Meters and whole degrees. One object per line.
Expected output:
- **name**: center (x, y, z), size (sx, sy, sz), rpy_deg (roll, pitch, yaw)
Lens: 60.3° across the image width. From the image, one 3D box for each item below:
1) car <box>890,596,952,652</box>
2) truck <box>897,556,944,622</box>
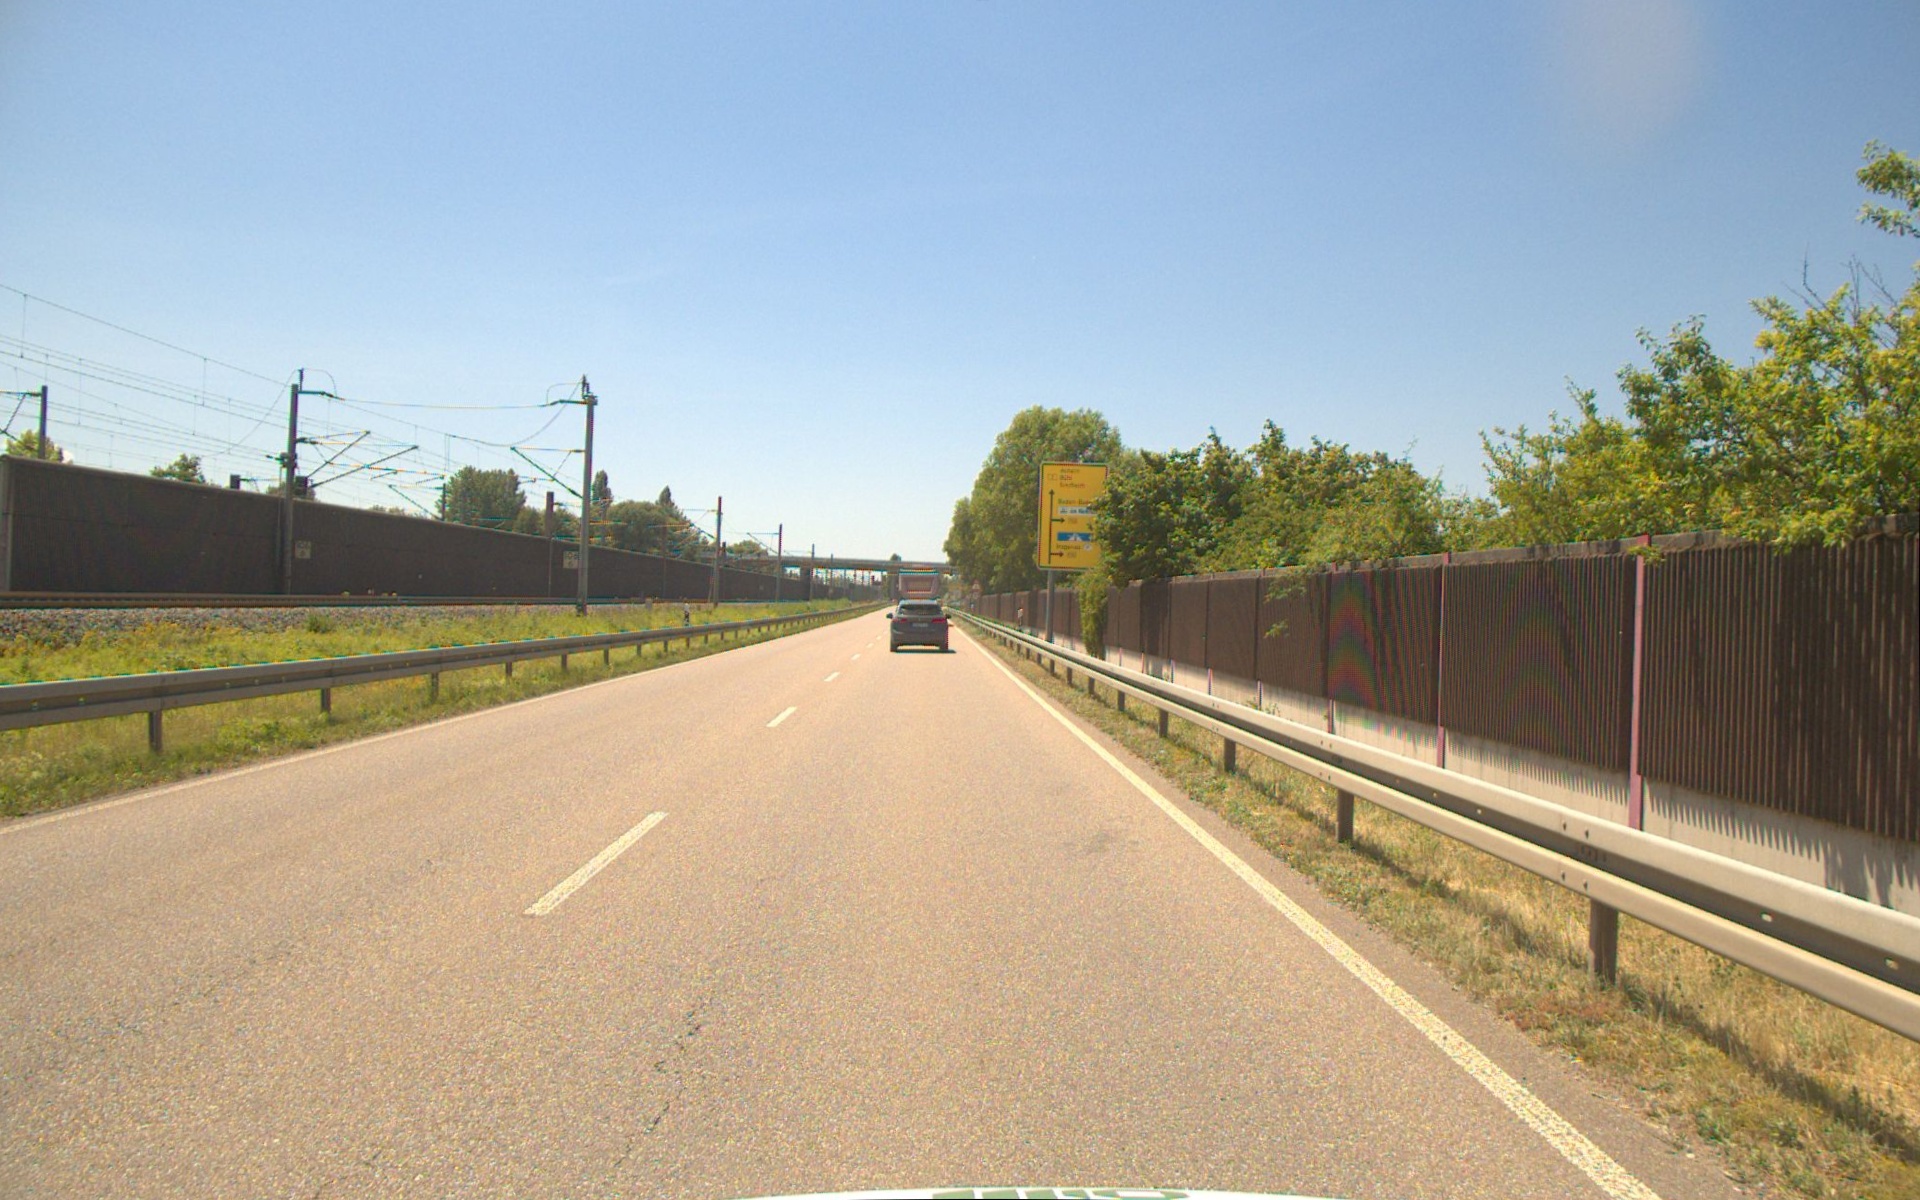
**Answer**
- **car**: center (-1.190, 0.718, 51.544), size (1.807, 1.651, 4.225), rpy_deg (1, 0, -1)
- **truck**: center (-2.538, -0.634, 104.438), size (2.776, 3.888, 11.880), rpy_deg (1, 0, -2)
